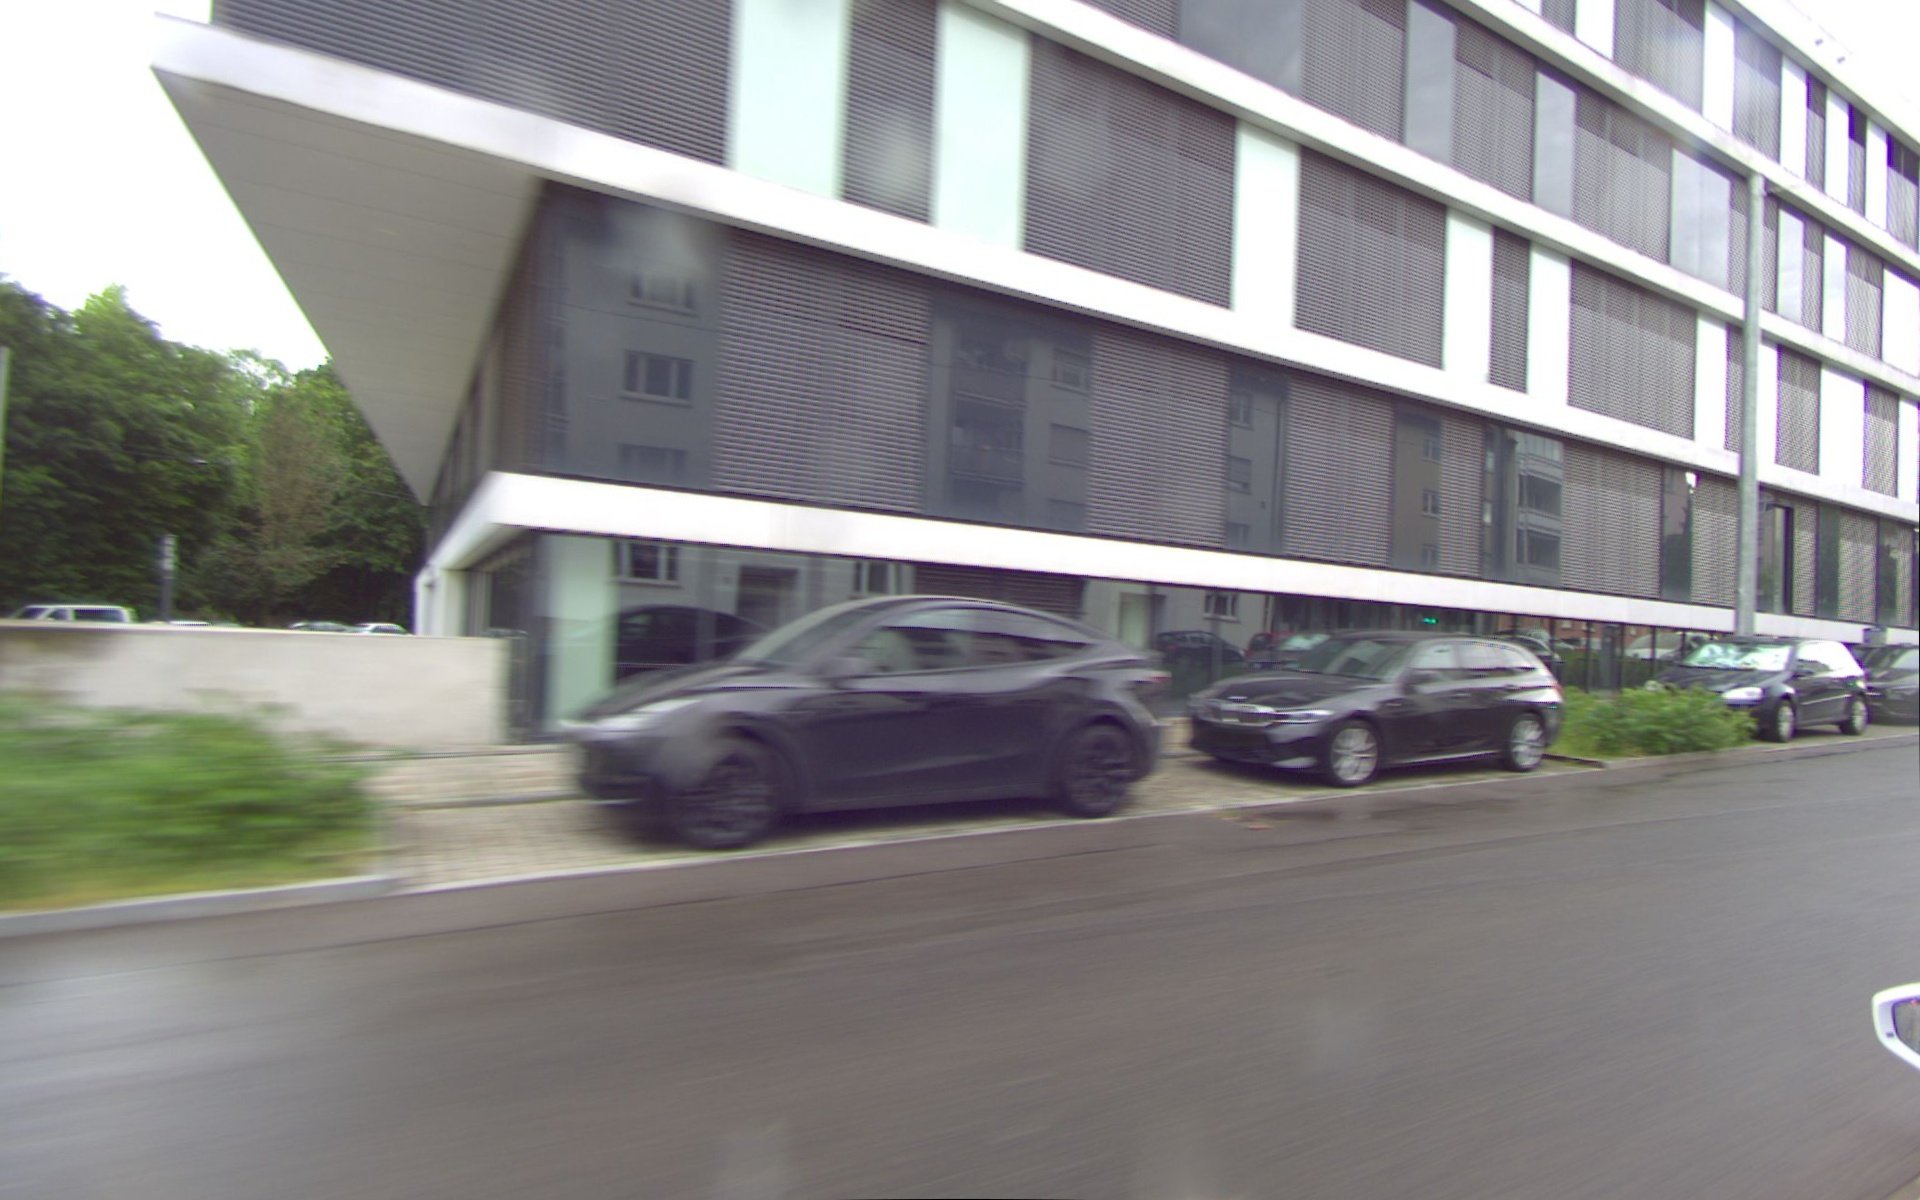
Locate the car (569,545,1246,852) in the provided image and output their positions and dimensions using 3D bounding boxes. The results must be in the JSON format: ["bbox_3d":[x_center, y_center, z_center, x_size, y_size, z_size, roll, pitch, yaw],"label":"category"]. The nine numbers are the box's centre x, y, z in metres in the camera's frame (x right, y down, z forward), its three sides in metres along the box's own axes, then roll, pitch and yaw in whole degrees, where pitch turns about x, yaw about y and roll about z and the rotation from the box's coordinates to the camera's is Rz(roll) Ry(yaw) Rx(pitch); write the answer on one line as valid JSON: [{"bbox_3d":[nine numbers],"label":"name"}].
[{"bbox_3d":[-0.309,0.654,7.825,4.881,1.773,1.955,2,-1,-28],"label":"car"}]

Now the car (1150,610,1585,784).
[{"bbox_3d":[4.477,0.969,10.826,4.686,1.492,1.862,3,-1,-31],"label":"car"}]

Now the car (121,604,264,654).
[{"bbox_3d":[-29.737,1.141,39.050,1.883,1.762,4.001,2,-1,18],"label":"car"}]

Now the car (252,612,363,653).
[{"bbox_3d":[-28.308,1.411,43.713,1.770,1.609,3.679,2,-1,18],"label":"car"}]

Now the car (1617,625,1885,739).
[{"bbox_3d":[12.414,1.224,15.714,4.296,1.509,1.854,2,-1,-31],"label":"car"}]

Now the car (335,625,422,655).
[{"bbox_3d":[-27.390,1.871,47.410,1.452,1.257,3.401,2,-1,18],"label":"car"}]

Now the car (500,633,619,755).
[{"bbox_3d":[-8.235,1.799,20.420,1.580,2.059,4.321,3,-1,-30],"label":"car"}]

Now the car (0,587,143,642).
[{"bbox_3d":[-37.540,0.619,42.053,2.126,2.124,4.841,3,-1,11],"label":"car"}]

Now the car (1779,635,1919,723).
[{"bbox_3d":[17.432,1.461,18.826,4.342,1.414,1.828,3,-1,-31],"label":"car"}]

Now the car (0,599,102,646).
[{"bbox_3d":[-31.098,0.740,33.154,1.635,1.469,3.870,2,-1,18],"label":"car"}]
